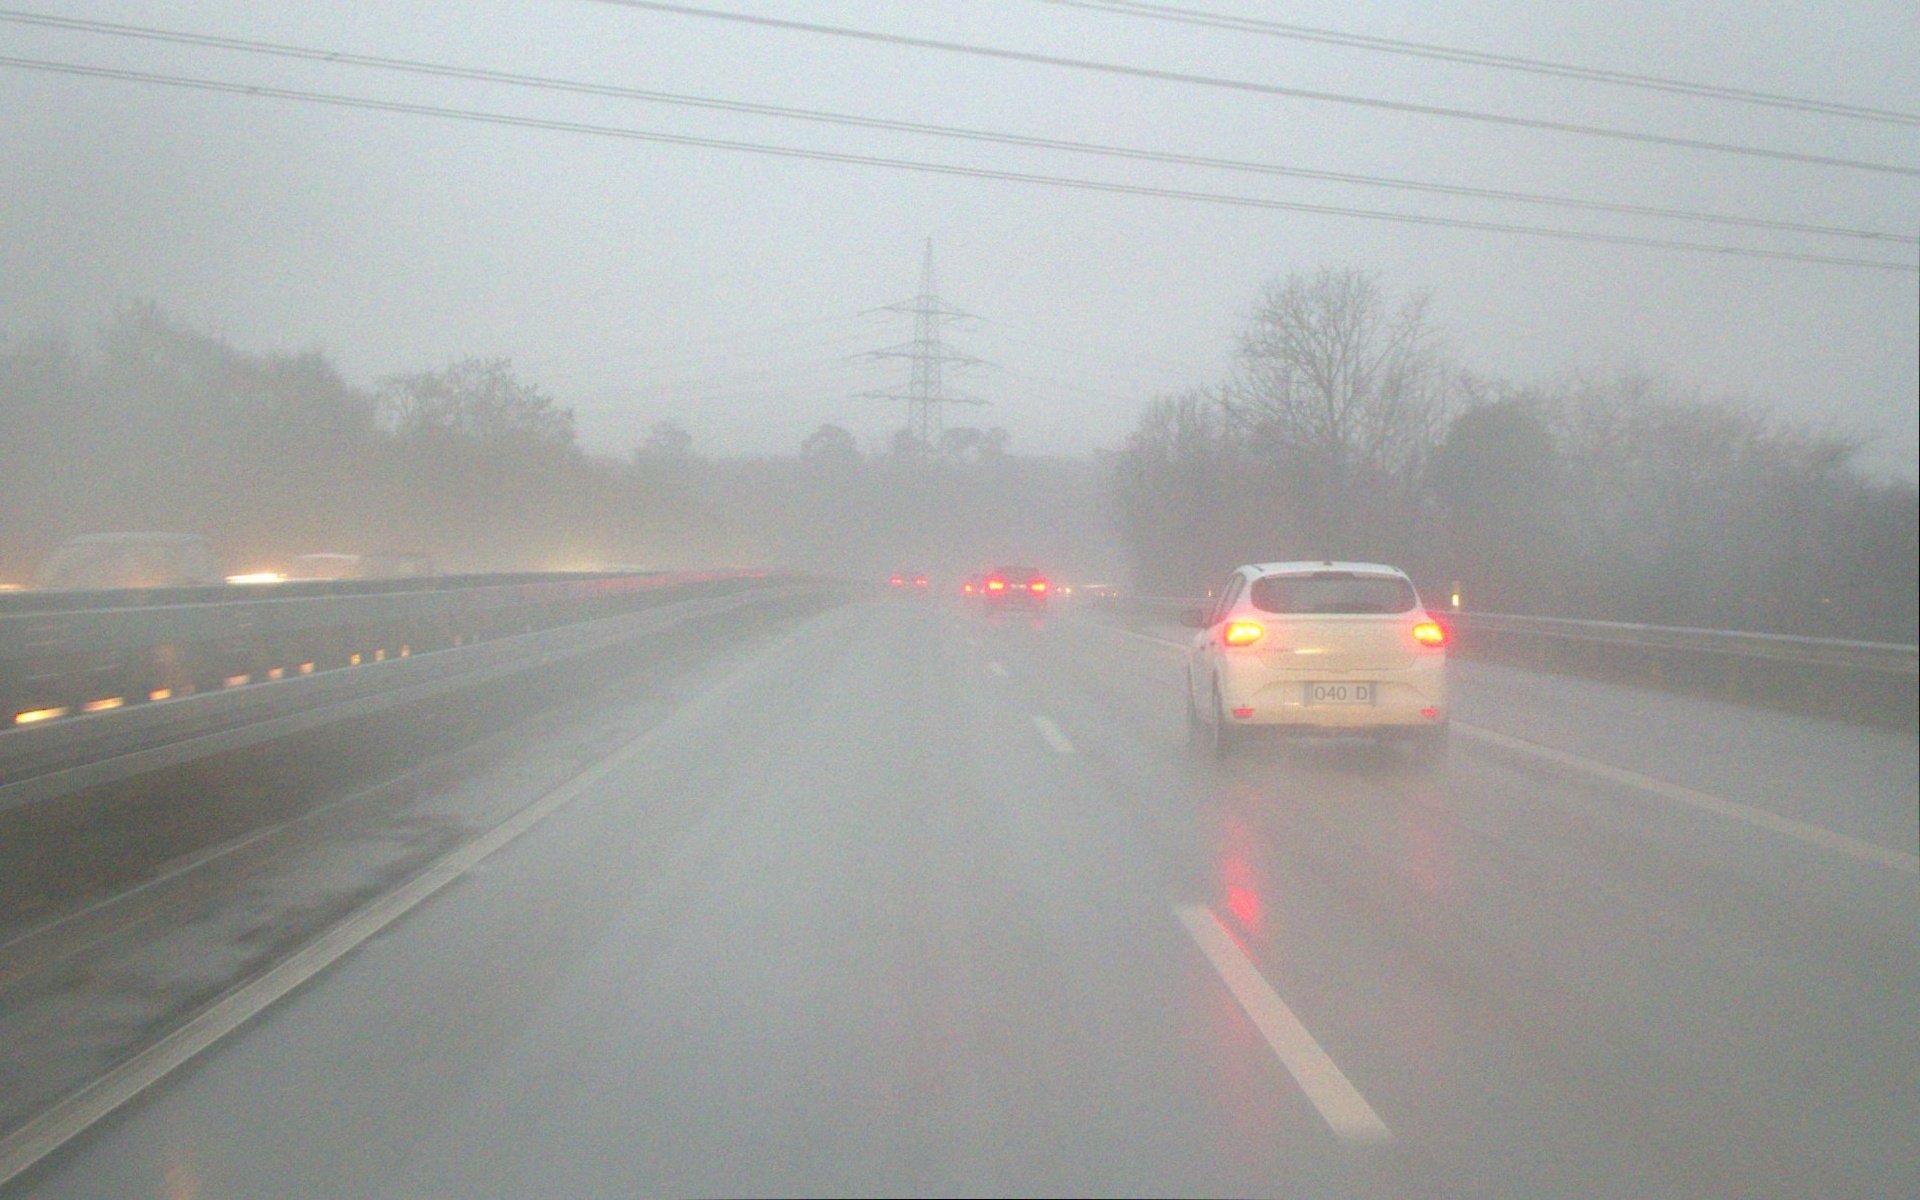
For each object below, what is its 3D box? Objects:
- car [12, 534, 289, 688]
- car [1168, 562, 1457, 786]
[{"bbox_3d":[-8.374,0.080,35.905,1.993,1.504,4.000,0,1,-1],"label":"car"},{"bbox_3d":[2.738,0.531,27.464,1.845,1.630,3.768,0,1,-1],"label":"car"}]
